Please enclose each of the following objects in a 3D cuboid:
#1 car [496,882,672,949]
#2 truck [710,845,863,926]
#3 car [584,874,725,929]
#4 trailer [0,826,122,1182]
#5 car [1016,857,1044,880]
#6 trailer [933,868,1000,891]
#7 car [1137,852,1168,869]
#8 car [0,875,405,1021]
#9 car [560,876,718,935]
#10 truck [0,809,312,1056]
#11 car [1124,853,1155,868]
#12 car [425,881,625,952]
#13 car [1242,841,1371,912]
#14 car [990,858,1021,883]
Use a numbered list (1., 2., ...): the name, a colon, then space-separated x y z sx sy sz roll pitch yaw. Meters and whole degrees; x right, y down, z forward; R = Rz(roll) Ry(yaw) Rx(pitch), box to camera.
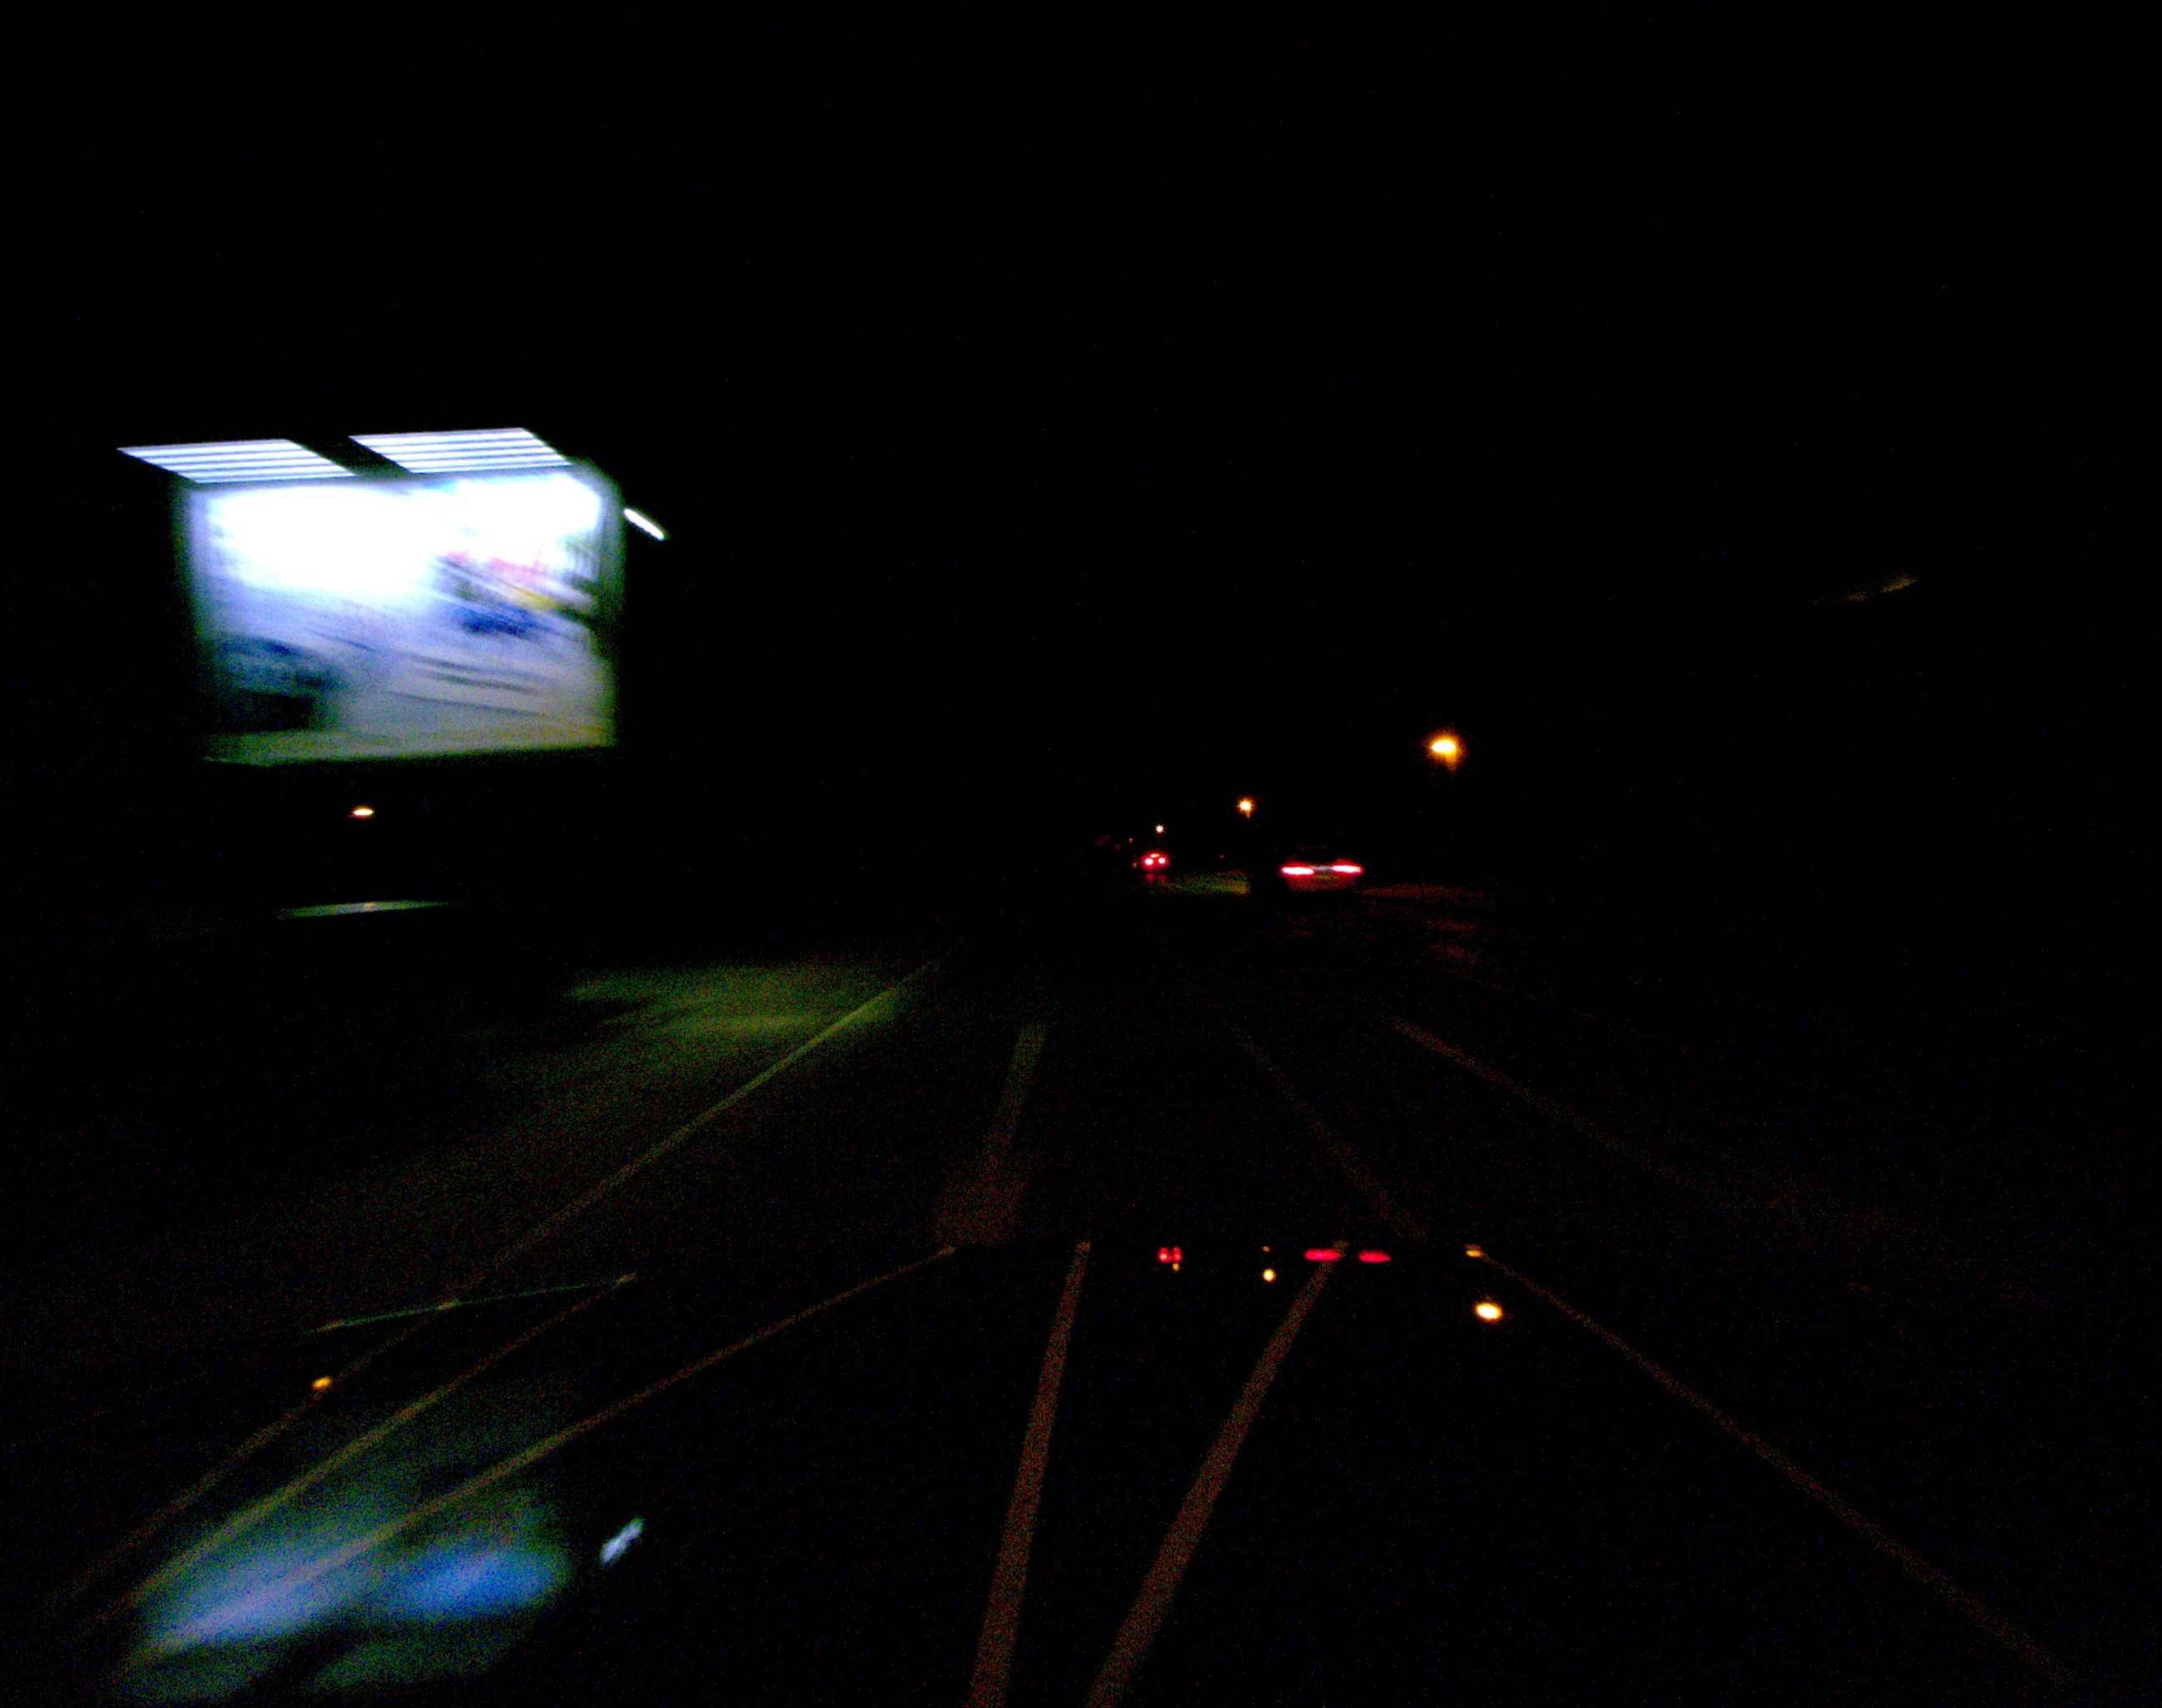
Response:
1. car: -14.352 1.739 22.101 3.866 1.586 1.708 -3 0 -2
2. truck: -9.915 0.949 26.608 2.384 2.270 7.743 -3 0 -1
3. car: -14.847 1.636 26.611 3.866 1.595 1.708 -3 0 -2
4. trailer: -7.955 0.907 4.690 3.750 2.001 1.617 -2 0 24
5. car: -4.025 1.140 59.760 1.999 1.542 4.325 -4 -1 -5
6. trailer: -6.483 1.414 44.493 2.179 0.961 9.617 -5 -1 1
7. car: 6.502 0.585 69.958 1.854 1.436 4.914 -3 0 -6
8. car: -13.983 1.405 11.863 5.085 1.825 1.989 -3 0 3
9. car: -14.113 1.612 24.425 3.865 1.551 1.902 -3 0 1
10. truck: -13.521 0.976 9.268 5.545 2.584 2.472 -3 0 -1
11. car: 5.827 0.635 75.956 2.000 1.371 4.594 -3 0 -9
12. car: -14.498 1.605 19.967 3.866 1.507 1.708 -3 0 -2
13. car: 5.974 0.553 20.814 1.999 1.617 4.752 -3 0 -1
14. car: -5.171 1.093 52.566 1.940 1.543 3.999 -4 0 -4
